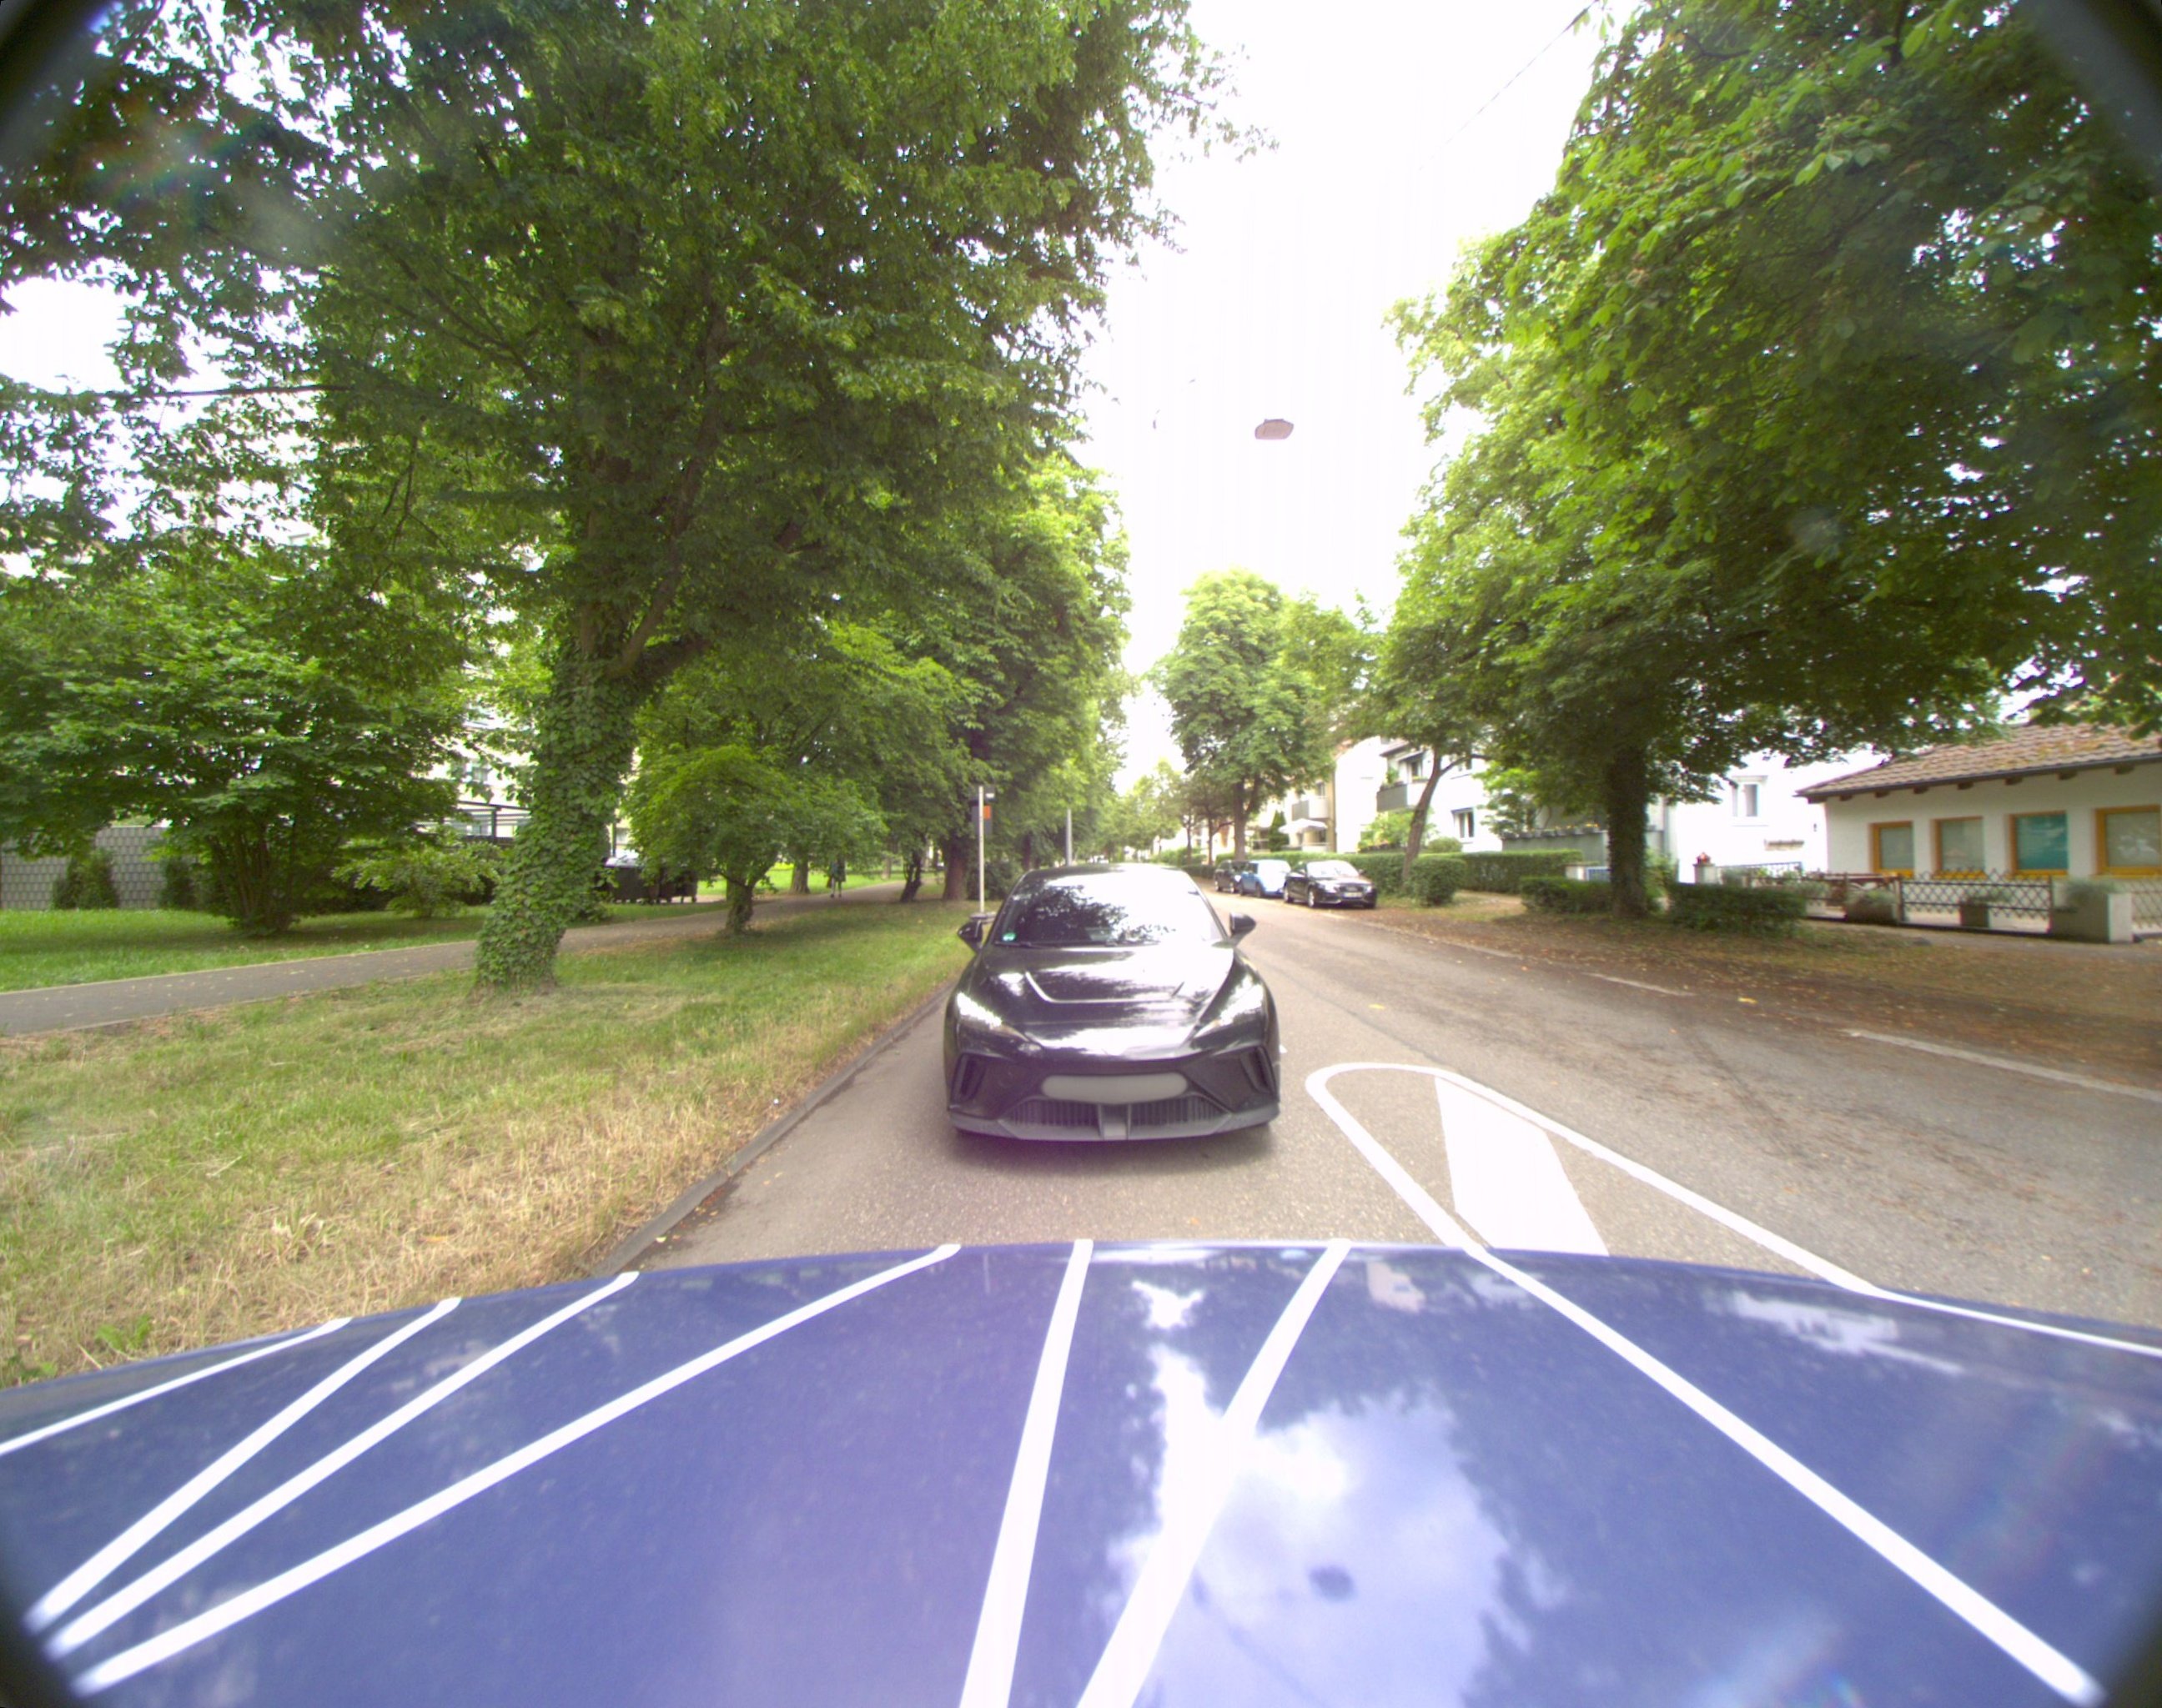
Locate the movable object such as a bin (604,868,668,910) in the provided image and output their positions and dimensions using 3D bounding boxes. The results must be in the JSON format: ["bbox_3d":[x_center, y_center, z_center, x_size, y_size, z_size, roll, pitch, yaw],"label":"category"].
[{"bbox_3d":[-13.256,1.028,22.680,1.194,1.213,1.348,0,0,-8],"label":"movable object such as a bin"}]

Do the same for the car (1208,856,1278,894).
[{"bbox_3d":[7.075,0.883,33.655,1.889,1.524,4.565,0,0,-3],"label":"car"}]

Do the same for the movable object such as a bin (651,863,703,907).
[{"bbox_3d":[-13.244,0.987,24.972,1.194,1.405,1.110,0,0,-8],"label":"movable object such as a bin"}]

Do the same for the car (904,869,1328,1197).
[{"bbox_3d":[0.187,0.893,5.901,1.998,1.491,4.615,0,0,1],"label":"car"}]

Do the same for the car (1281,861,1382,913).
[{"bbox_3d":[7.405,0.916,22.880,1.735,1.394,4.172,0,0,1],"label":"car"}]

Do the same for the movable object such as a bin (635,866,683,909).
[{"bbox_3d":[-13.241,1.047,23.878,1.026,1.296,0.960,0,0,-8],"label":"movable object such as a bin"}]

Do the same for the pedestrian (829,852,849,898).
[{"bbox_3d":[-9.184,0.782,28.853,0.565,1.730,0.570,1,0,0],"label":"pedestrian"}]

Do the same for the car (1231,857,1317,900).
[{"bbox_3d":[7.206,0.881,28.902,1.889,1.492,4.565,0,0,-3],"label":"car"}]

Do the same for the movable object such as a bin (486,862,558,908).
[{"bbox_3d":[-16.514,0.896,22.484,1.194,1.334,1.348,0,0,-8],"label":"movable object such as a bin"}]

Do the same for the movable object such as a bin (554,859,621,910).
[{"bbox_3d":[-14.573,0.871,22.487,1.194,1.448,1.348,0,0,-8],"label":"movable object such as a bin"}]
